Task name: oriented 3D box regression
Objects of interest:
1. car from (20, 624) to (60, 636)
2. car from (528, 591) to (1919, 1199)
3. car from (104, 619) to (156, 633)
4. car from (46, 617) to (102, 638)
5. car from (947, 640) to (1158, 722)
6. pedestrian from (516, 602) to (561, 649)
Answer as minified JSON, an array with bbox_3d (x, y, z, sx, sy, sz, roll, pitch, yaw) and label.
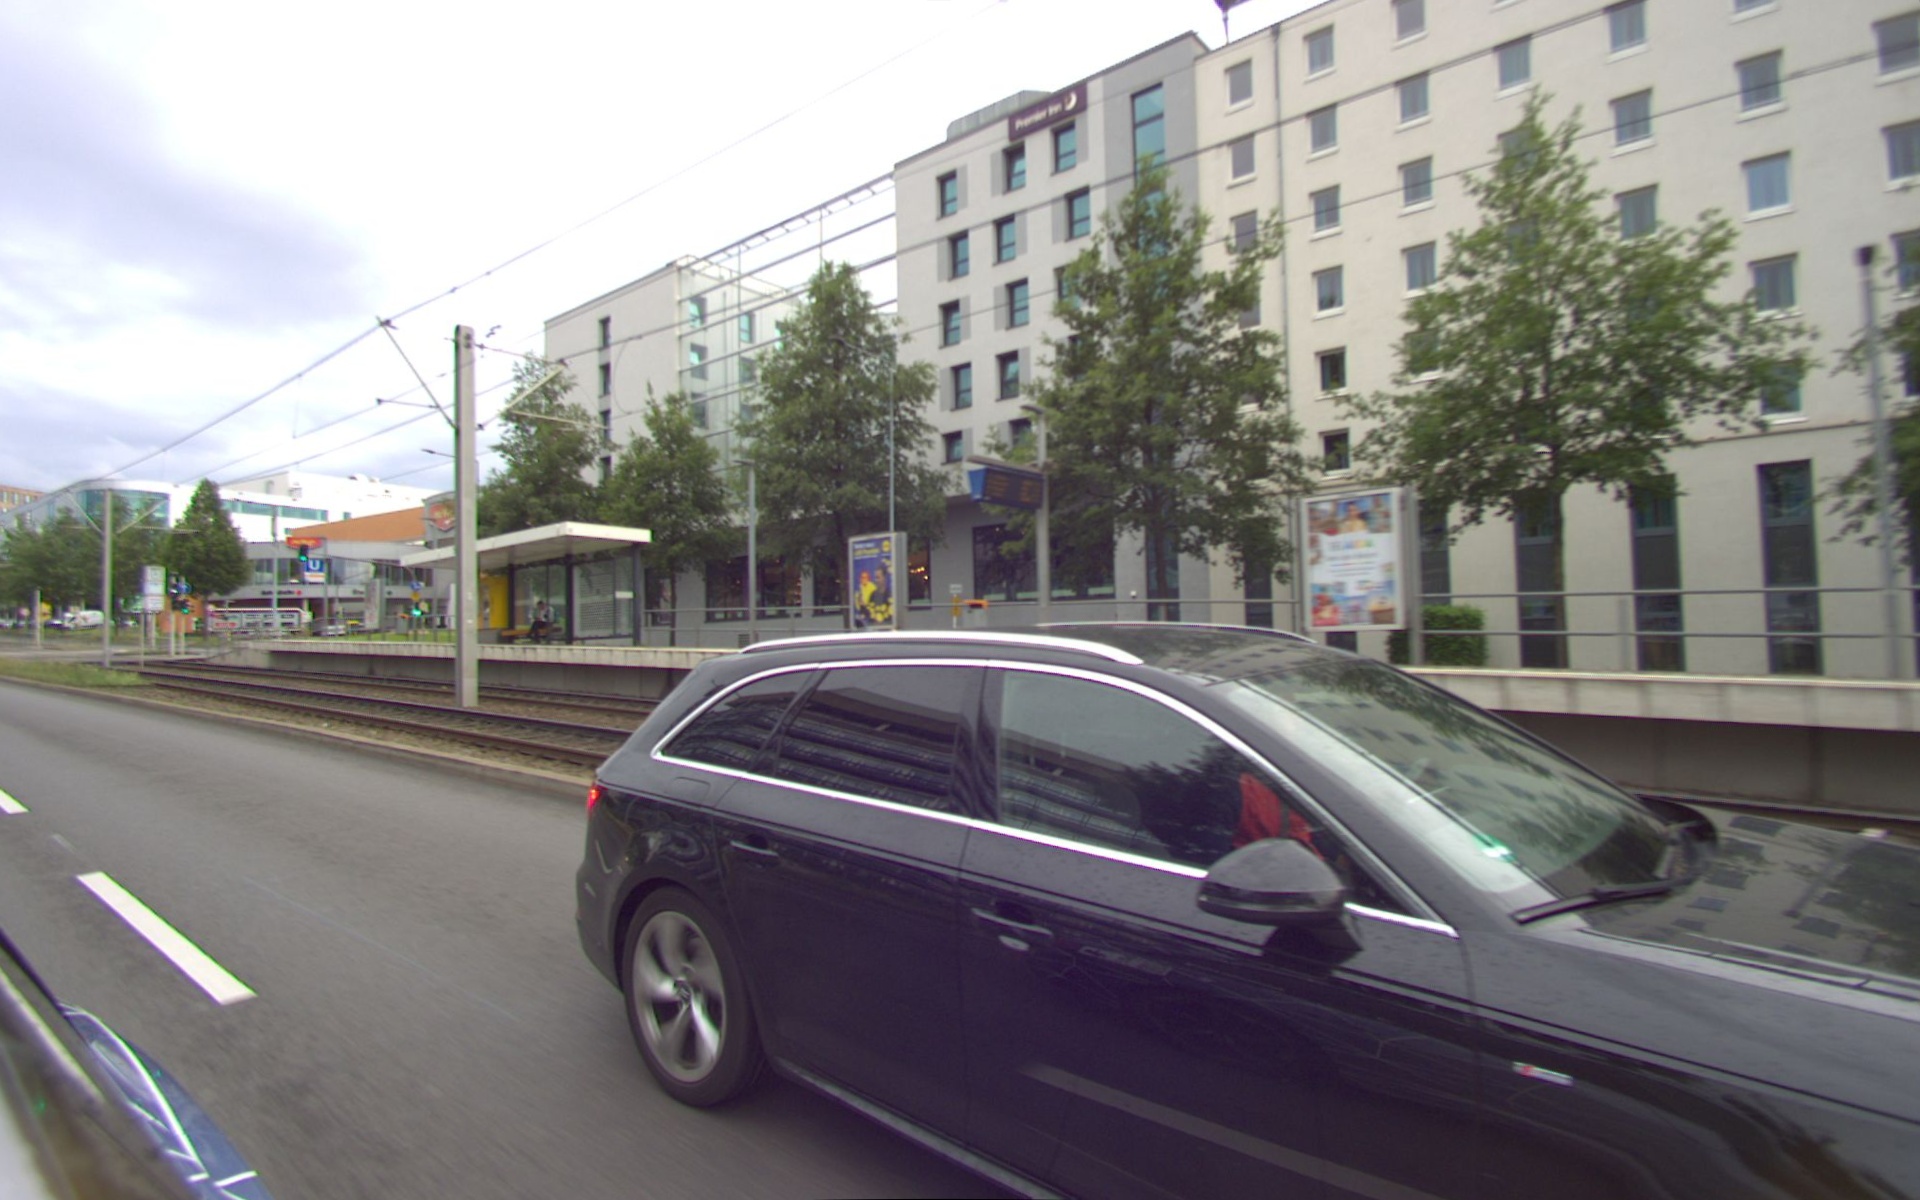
[{"bbox_3d":[-135.344,4.423,148.913,1.915,1.674,3.958,-1,0,31],"label":"car"},{"bbox_3d":[0.856,0.739,2.602,4.827,1.445,1.771,-2,-1,42],"label":"car"},{"bbox_3d":[-120.525,3.758,146.938,2.271,1.940,5.426,-1,0,31],"label":"car"},{"bbox_3d":[-122.859,3.807,140.449,2.262,2.648,5.447,-1,0,20],"label":"car"},{"bbox_3d":[2.056,1.788,23.321,4.656,1.665,1.875,-1,-3,41],"label":"car"},{"bbox_3d":[-11.851,0.716,28.449,0.684,1.310,0.952,-2,-2,39],"label":"pedestrian"}]
